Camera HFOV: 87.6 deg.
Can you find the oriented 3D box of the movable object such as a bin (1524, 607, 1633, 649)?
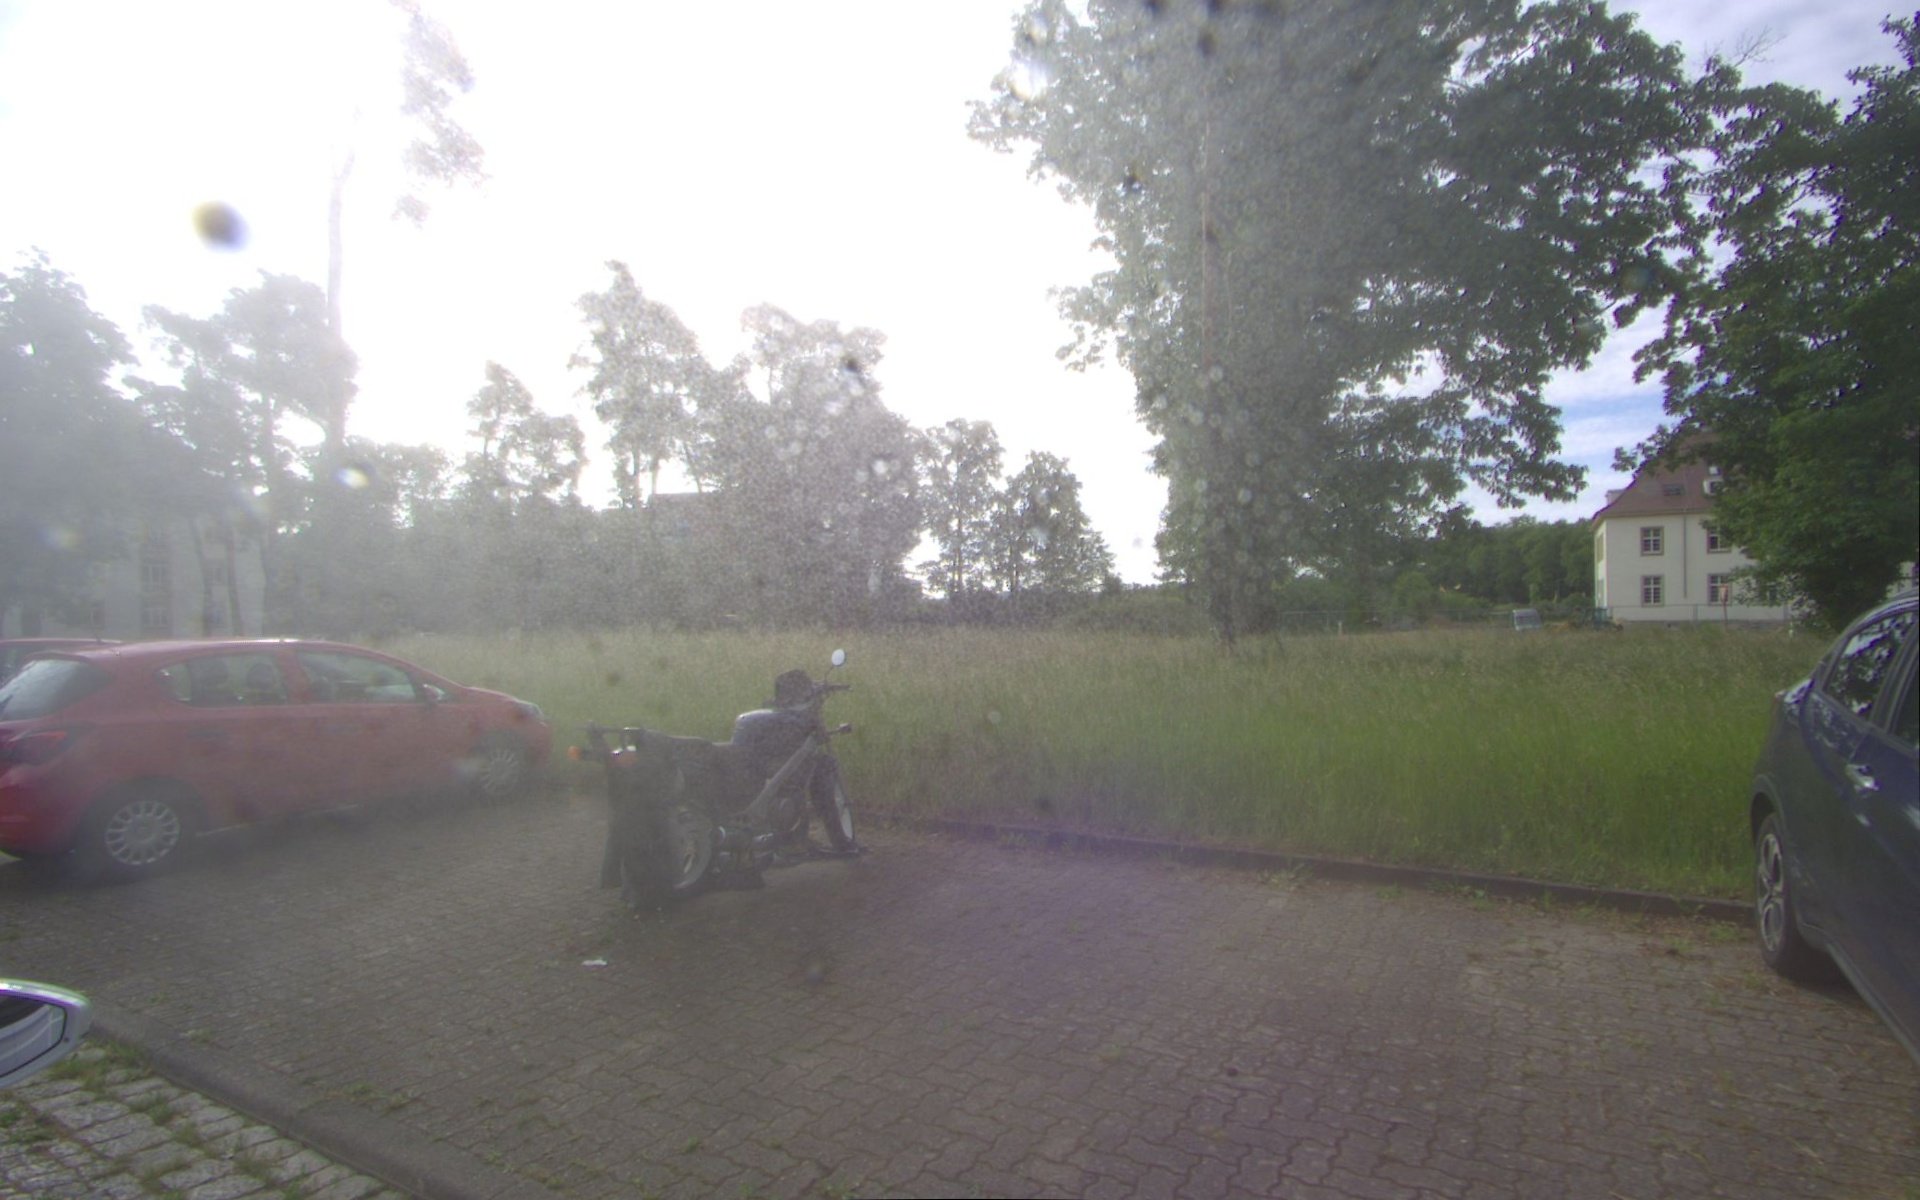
[{"bbox_3d":[41.735,1.939,67.691,2.152,2.688,5.927,1,-2,-41],"label":"movable object such as a bin"}]

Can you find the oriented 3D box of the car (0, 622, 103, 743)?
[{"bbox_3d":[-13.899,1.129,12.857,1.724,1.573,4.025,-1,0,28],"label":"car"}]

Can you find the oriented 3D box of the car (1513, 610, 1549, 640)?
[{"bbox_3d":[45.712,2.042,80.276,1.885,2.377,4.587,-1,-2,22],"label":"car"}]

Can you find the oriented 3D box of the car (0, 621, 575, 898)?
[{"bbox_3d":[-5.177,0.965,7.789,1.753,1.479,3.820,-1,0,30],"label":"car"}]

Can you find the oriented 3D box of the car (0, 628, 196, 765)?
[{"bbox_3d":[-11.545,1.134,11.694,1.725,1.479,3.786,-1,0,30],"label":"car"}]

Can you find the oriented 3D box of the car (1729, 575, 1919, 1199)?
[{"bbox_3d":[3.412,0.712,2.509,1.767,1.591,4.157,-2,-2,30],"label":"car"}]

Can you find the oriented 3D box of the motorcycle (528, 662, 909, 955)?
[{"bbox_3d":[-1.223,1.021,5.749,0.783,1.201,2.325,-1,0,27],"label":"motorcycle"}]
